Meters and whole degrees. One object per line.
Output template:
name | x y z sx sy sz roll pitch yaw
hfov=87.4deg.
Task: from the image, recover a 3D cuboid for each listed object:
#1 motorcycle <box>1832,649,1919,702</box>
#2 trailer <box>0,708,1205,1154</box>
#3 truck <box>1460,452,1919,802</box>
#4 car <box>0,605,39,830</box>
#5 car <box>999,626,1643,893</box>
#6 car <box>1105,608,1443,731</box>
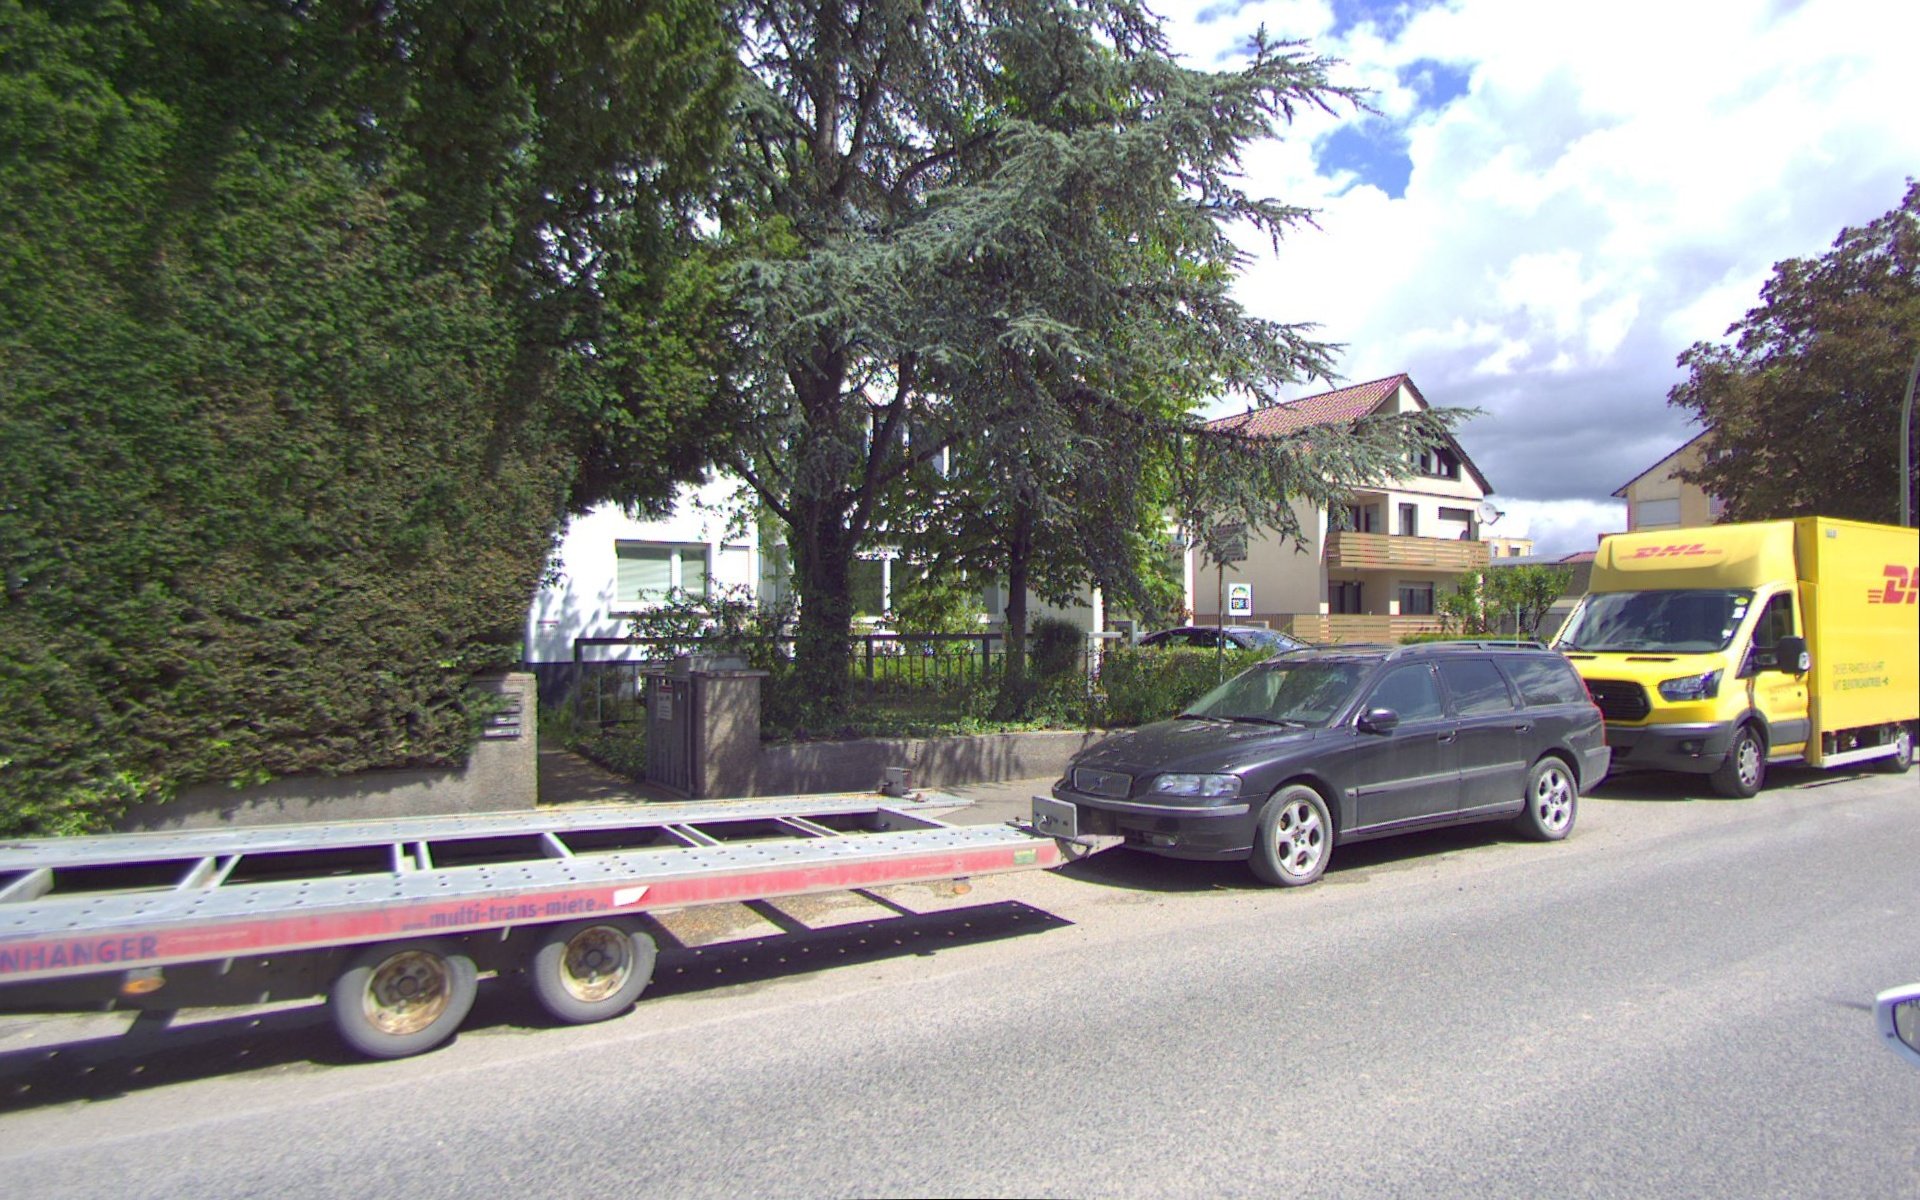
motorcycle | 21.975 1.756 23.797 0.810 1.181 1.872 0 -2 -13
trailer | -2.475 1.154 4.373 7.371 1.003 2.308 1 -3 -30
truck | 9.276 0.374 11.764 7.730 3.042 2.312 1 -4 -32
car | -9.012 0.831 6.185 4.577 1.656 1.799 1 -3 -30
car | 2.841 1.015 7.656 4.754 1.471 1.986 1 -5 -30
car | 4.566 0.973 15.477 1.950 1.572 4.983 2 -2 -31
